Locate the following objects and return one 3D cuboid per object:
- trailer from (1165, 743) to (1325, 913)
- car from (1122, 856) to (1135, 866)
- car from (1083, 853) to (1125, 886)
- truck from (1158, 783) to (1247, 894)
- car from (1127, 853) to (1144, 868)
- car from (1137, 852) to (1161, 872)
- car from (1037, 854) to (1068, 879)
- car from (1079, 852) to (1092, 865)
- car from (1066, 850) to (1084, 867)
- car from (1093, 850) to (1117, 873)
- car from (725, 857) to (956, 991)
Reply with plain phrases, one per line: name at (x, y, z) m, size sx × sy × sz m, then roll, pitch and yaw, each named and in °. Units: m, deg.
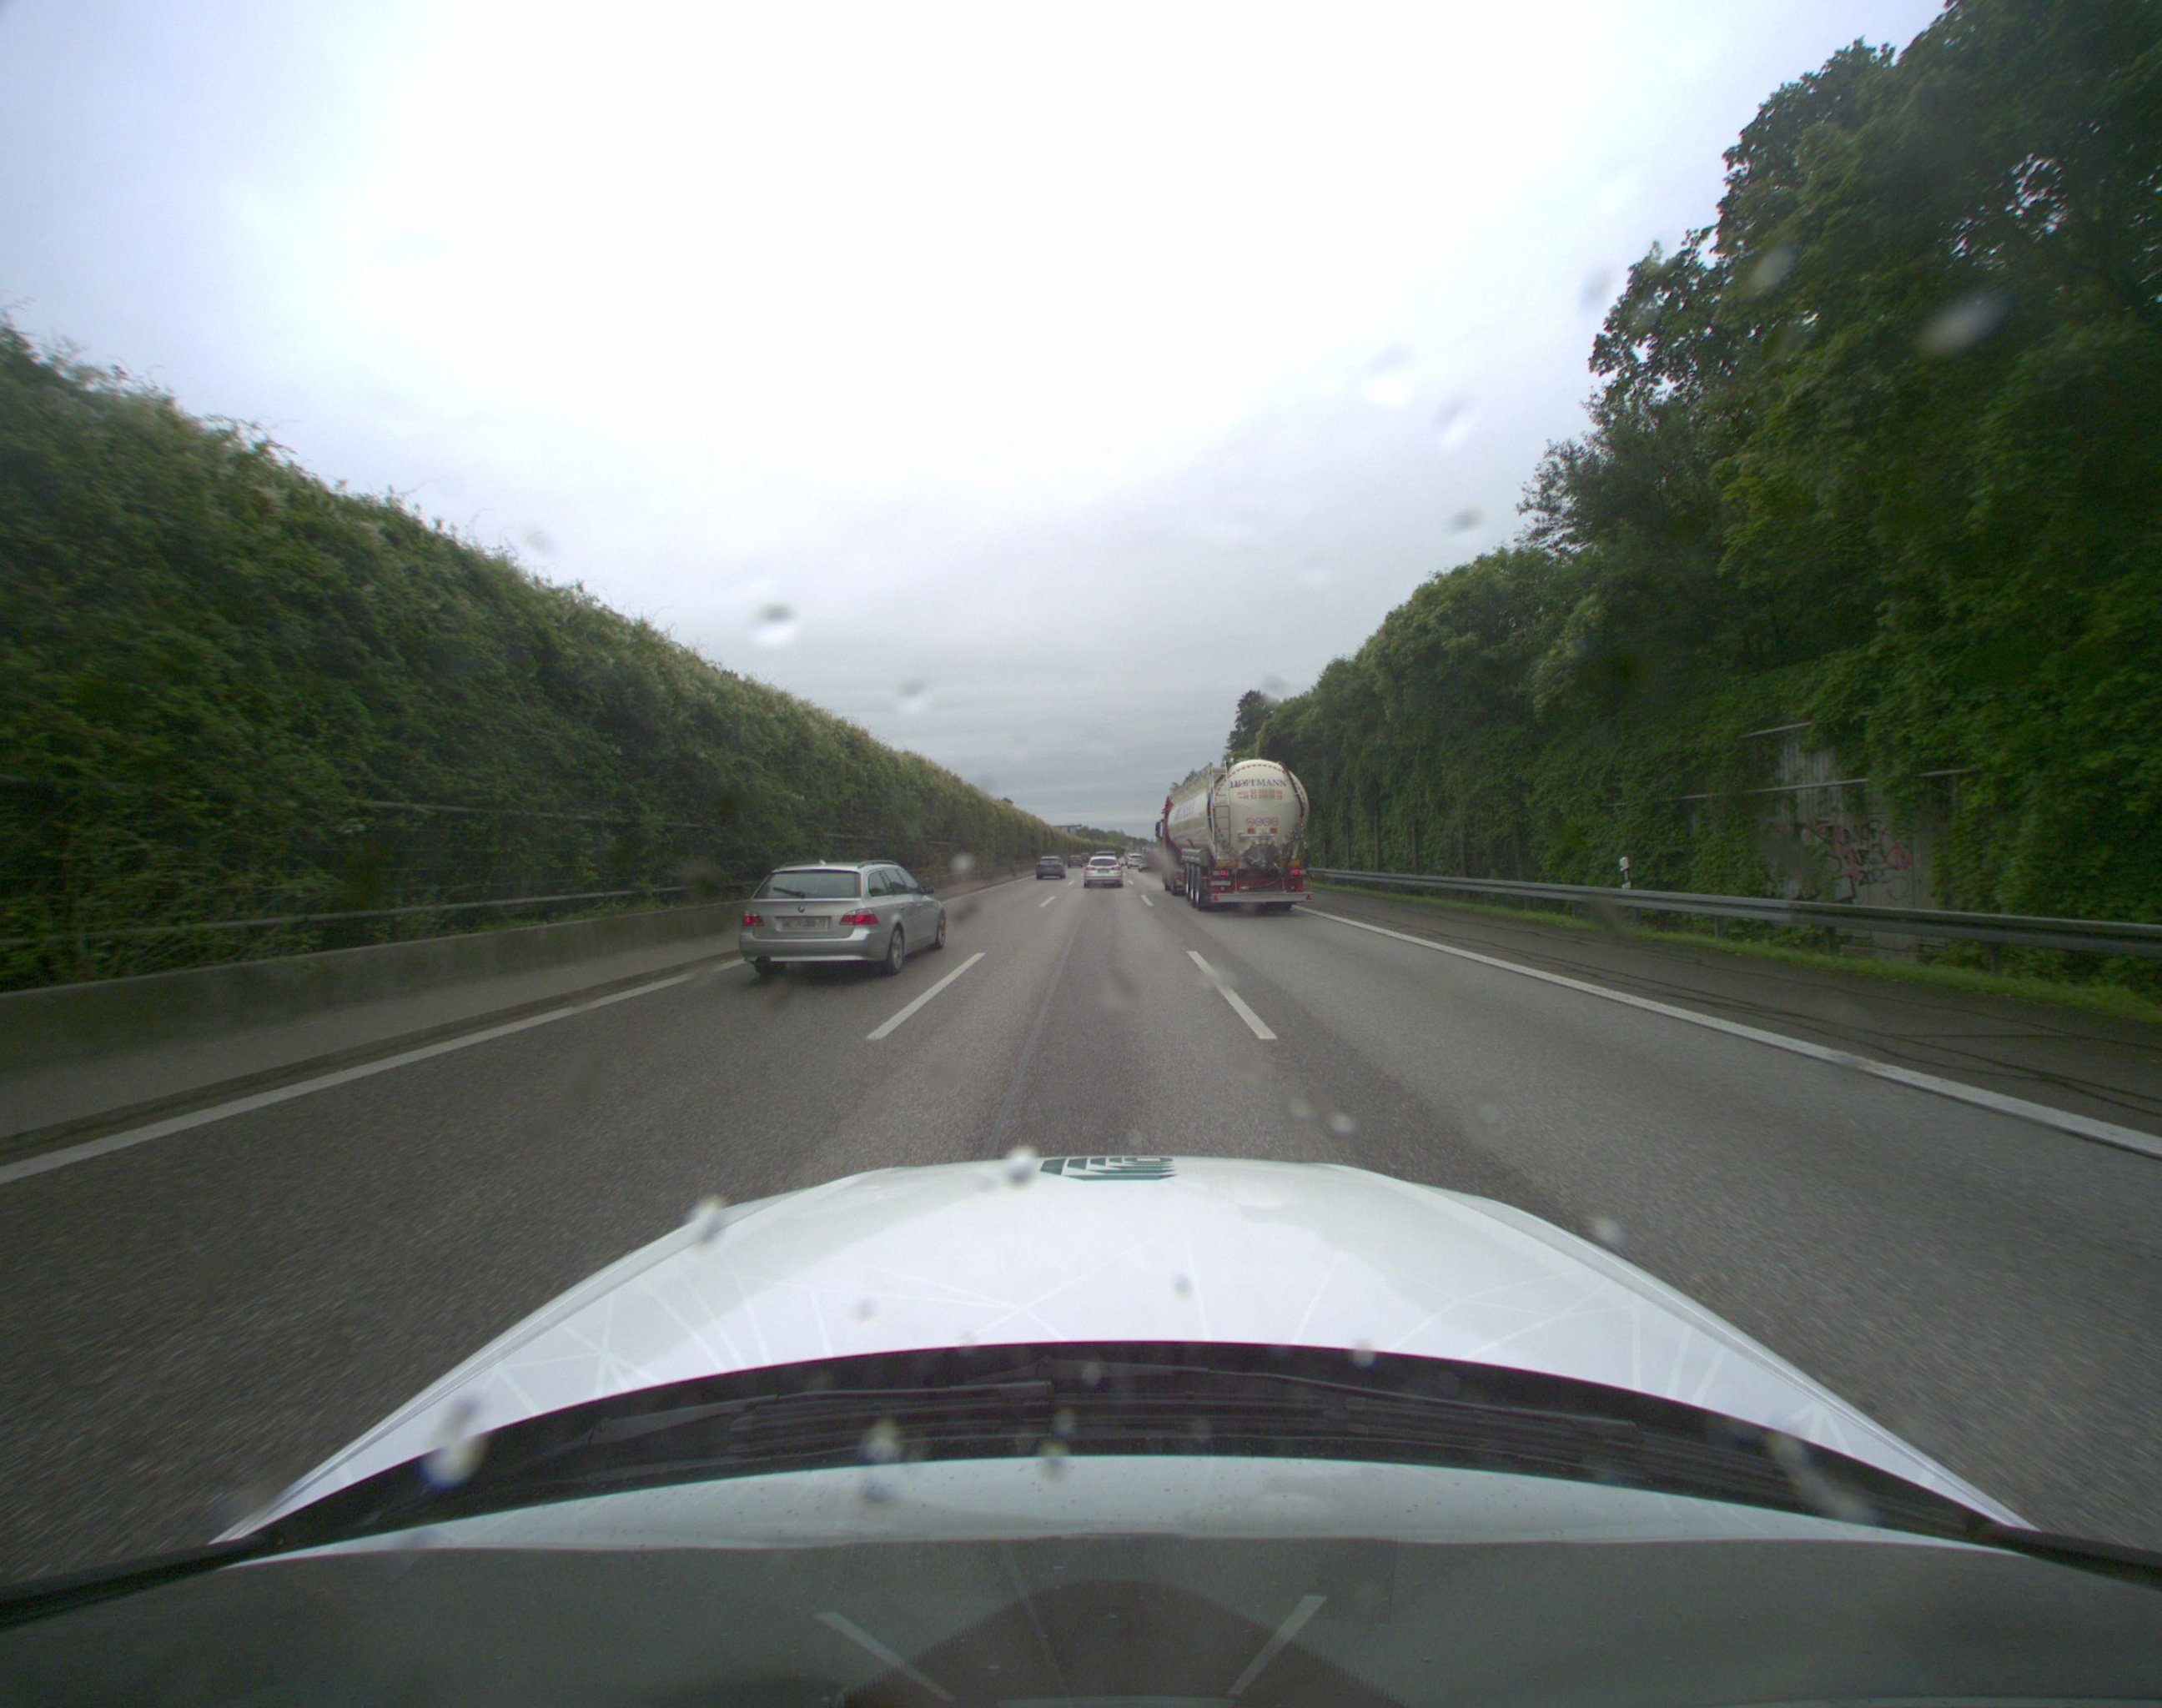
trailer at (4.468, -0.552, 25.422) m, size 2.658 × 3.939 × 13.133 m, roll 0°, pitch 0°, yaw 1°
car at (6.477, 0.912, 110.547) m, size 1.682 × 1.331 × 3.873 m, roll 0°, pitch 0°, yaw 2°
car at (1.124, 0.712, 39.362) m, size 1.884 × 1.504 × 5.032 m, roll 0°, pitch 0°, yaw 2°
truck at (4.635, -0.534, 32.163) m, size 2.685 × 3.912 × 6.558 m, roll 0°, pitch -1°, yaw 1°
car at (5.784, 0.712, 86.467) m, size 1.682 × 1.506 × 3.872 m, roll 0°, pitch -1°, yaw 2°
car at (5.880, 0.673, 71.088) m, size 1.809 × 1.625 × 5.031 m, roll 0°, pitch 0°, yaw 1°
car at (-1.835, 0.792, 53.665) m, size 1.713 × 1.512 × 5.032 m, roll 0°, pitch 0°, yaw 2°
car at (0.697, 0.725, 127.074) m, size 1.986 × 2.013 × 4.002 m, roll -1°, pitch 0°, yaw 2°
car at (-0.688, 0.493, 97.196) m, size 1.986 × 2.013 × 3.843 m, roll -1°, pitch 0°, yaw 2°
car at (1.783, 0.521, 61.057) m, size 1.683 × 1.506 × 3.873 m, roll 3°, pitch 1°, yaw 1°
car at (-3.153, 0.814, 11.891) m, size 1.713 × 1.469 × 5.032 m, roll 0°, pitch 0°, yaw 2°
